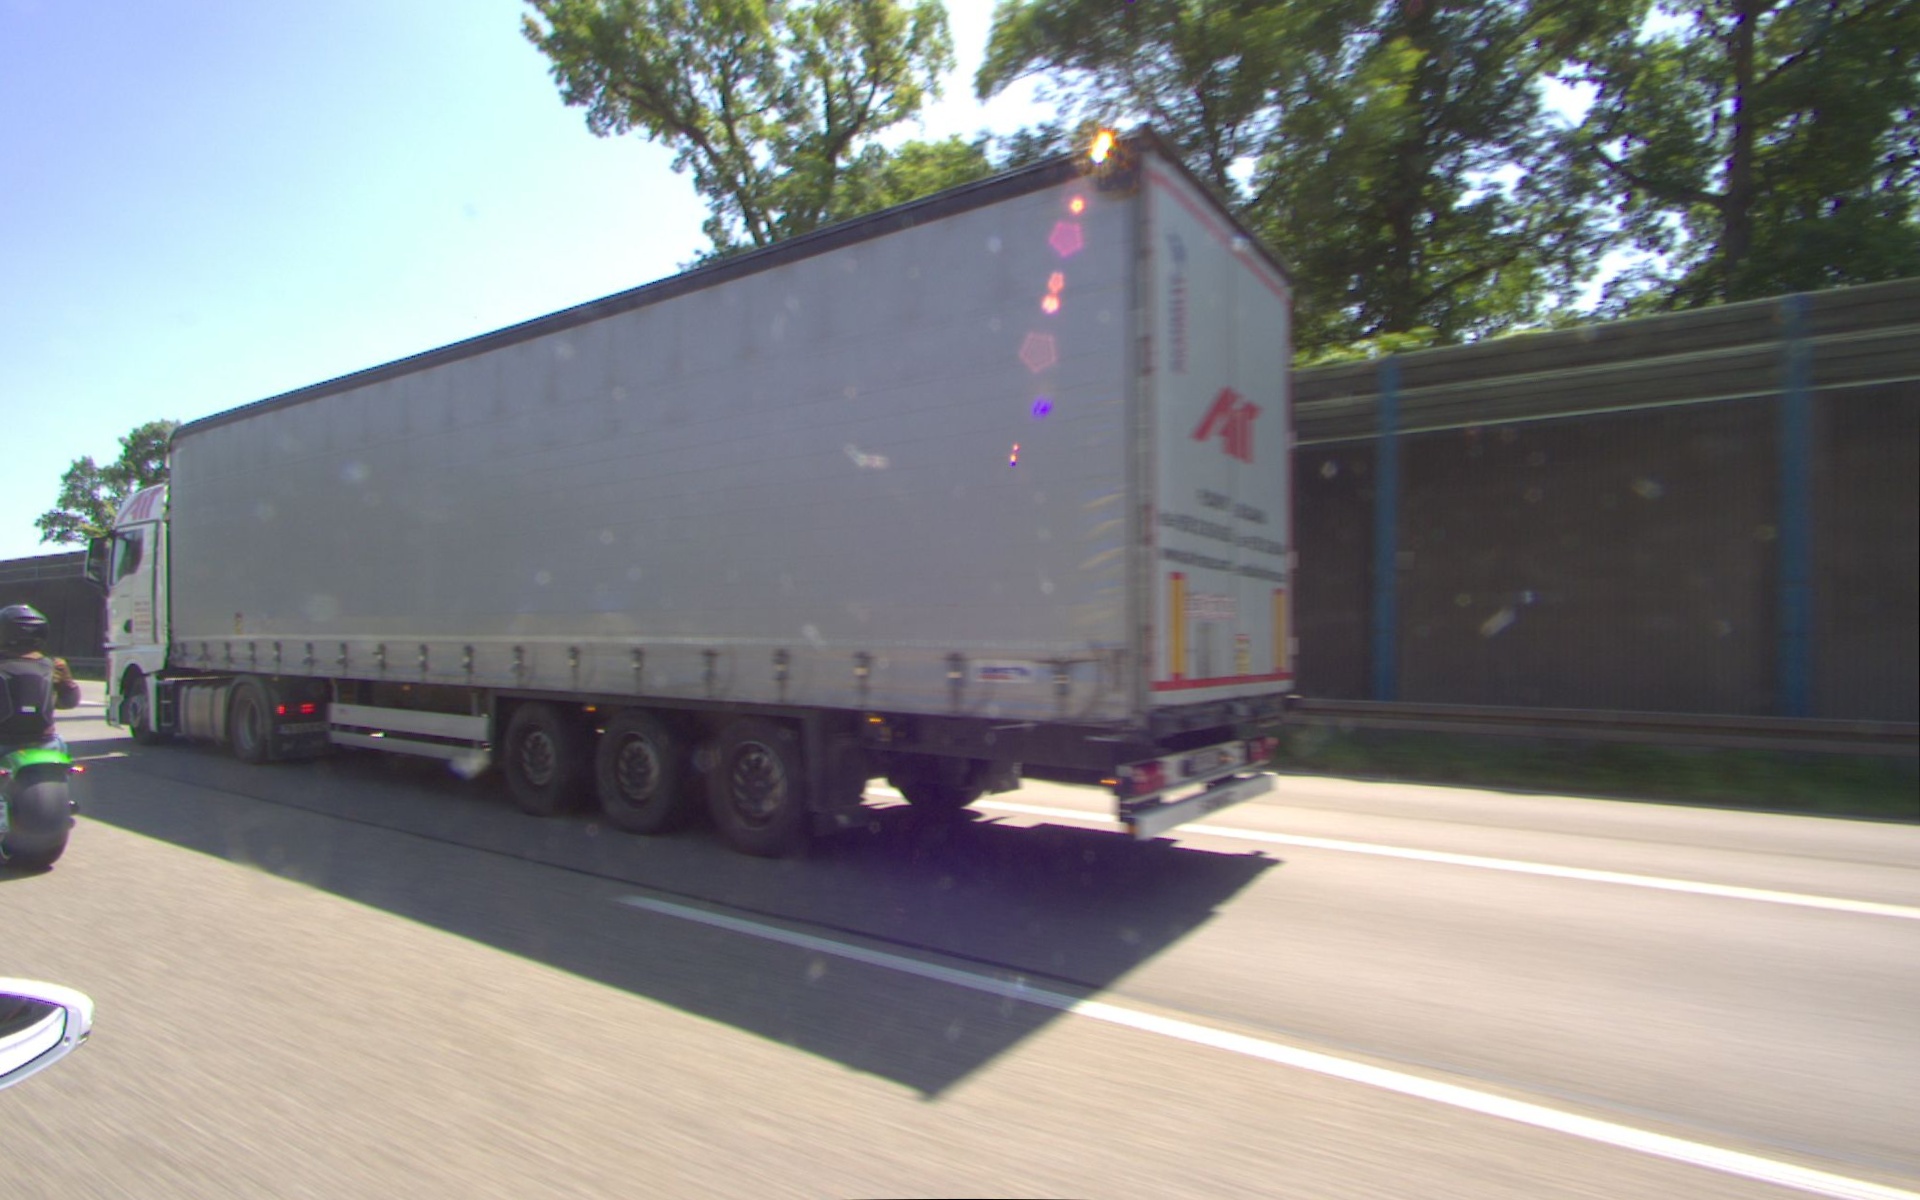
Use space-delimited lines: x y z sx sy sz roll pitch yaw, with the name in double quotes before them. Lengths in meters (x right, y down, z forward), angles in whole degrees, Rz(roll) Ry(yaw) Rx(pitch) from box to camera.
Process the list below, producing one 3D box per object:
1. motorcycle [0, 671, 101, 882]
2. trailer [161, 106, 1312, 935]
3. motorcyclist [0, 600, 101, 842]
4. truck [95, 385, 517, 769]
"motorcycle" -6.714 1.110 6.813 2.781 1.163 0.960 -2 -3 42
"trailer" -3.802 -0.228 10.051 13.611 4.089 2.878 -1 -2 35
"motorcyclist" -6.624 0.788 6.857 1.852 1.493 0.895 -3 -3 42
"truck" -9.138 -0.149 13.842 5.906 4.198 2.879 -1 -2 35
